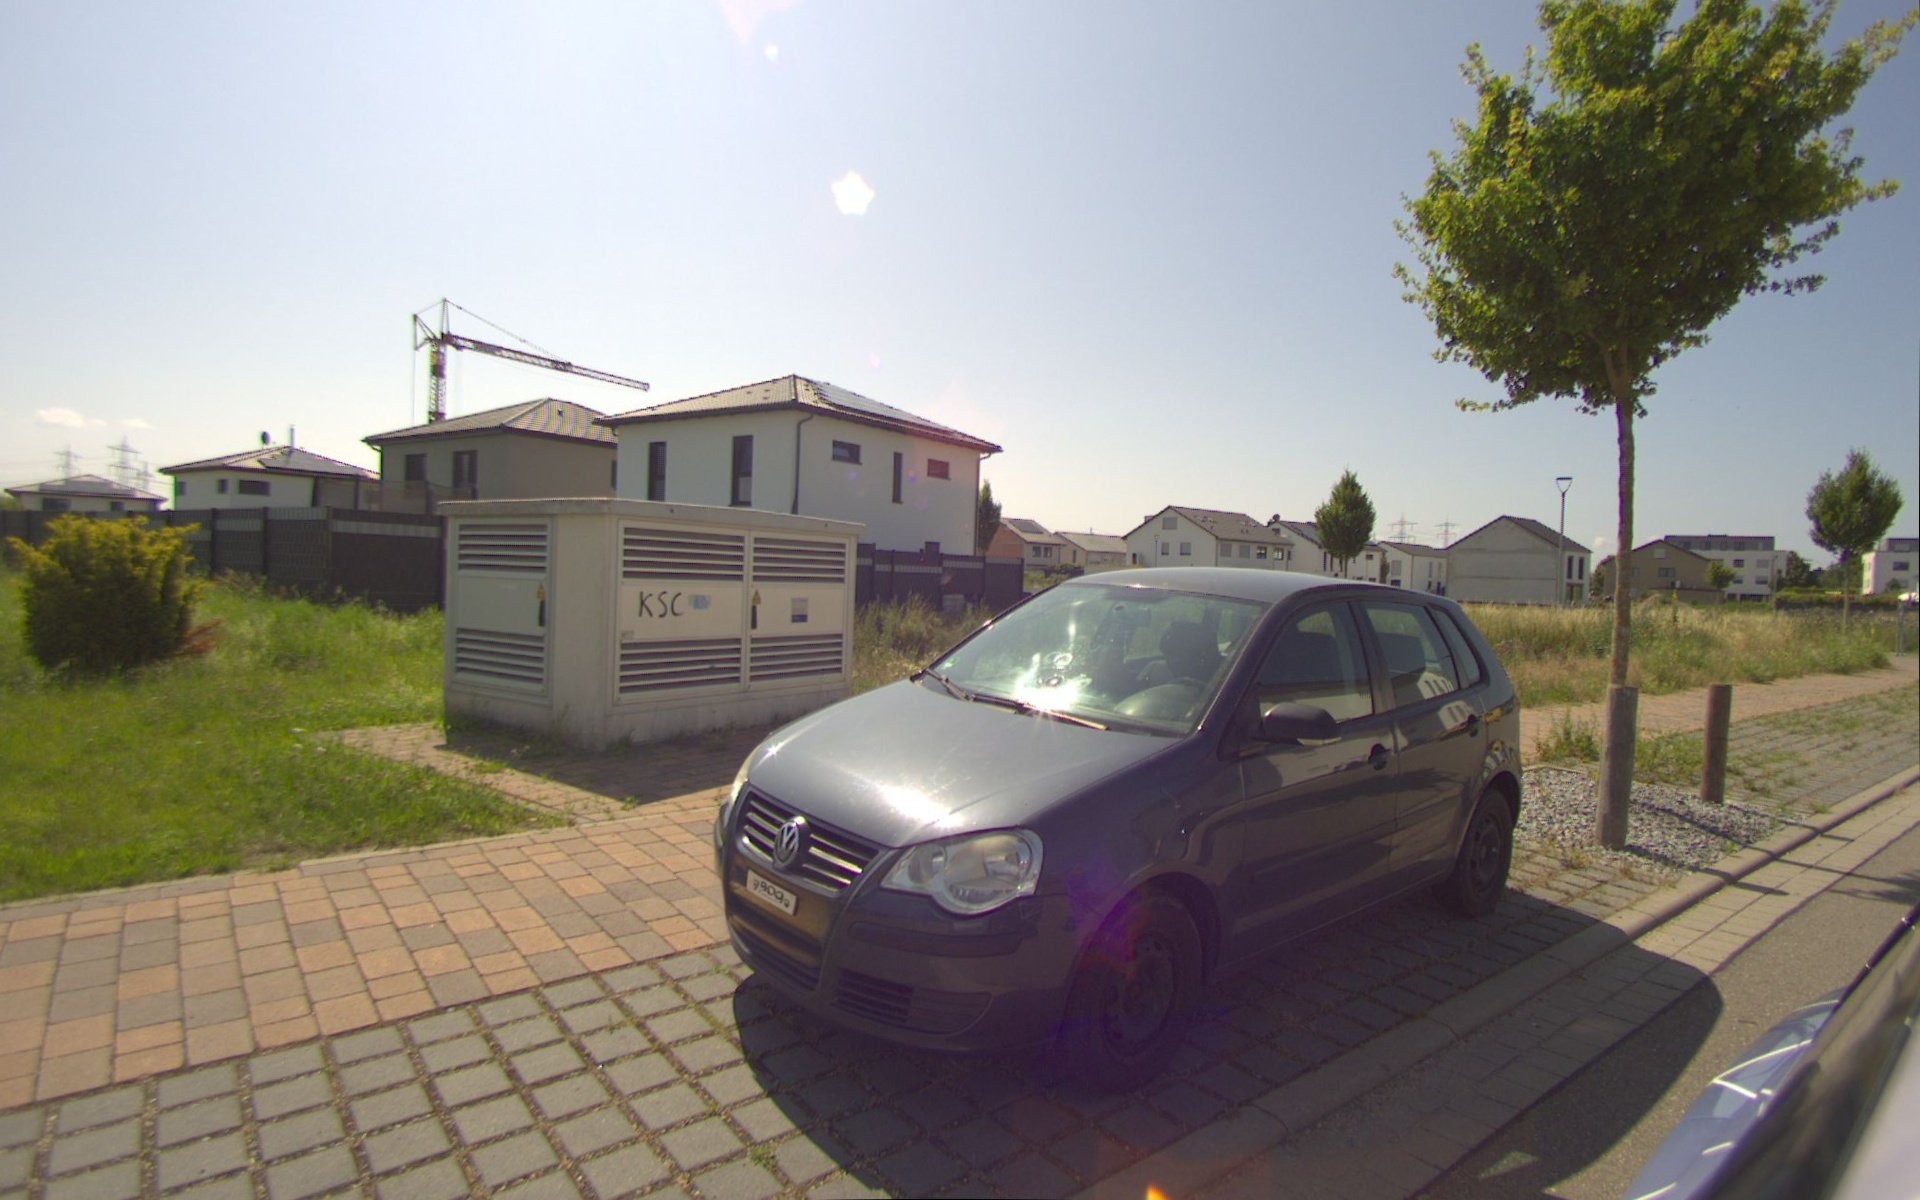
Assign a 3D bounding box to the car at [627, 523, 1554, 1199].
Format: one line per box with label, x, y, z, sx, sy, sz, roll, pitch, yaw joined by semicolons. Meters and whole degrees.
car;0.778;0.559;3.989;3.611;1.493;1.602;1;3;-42
